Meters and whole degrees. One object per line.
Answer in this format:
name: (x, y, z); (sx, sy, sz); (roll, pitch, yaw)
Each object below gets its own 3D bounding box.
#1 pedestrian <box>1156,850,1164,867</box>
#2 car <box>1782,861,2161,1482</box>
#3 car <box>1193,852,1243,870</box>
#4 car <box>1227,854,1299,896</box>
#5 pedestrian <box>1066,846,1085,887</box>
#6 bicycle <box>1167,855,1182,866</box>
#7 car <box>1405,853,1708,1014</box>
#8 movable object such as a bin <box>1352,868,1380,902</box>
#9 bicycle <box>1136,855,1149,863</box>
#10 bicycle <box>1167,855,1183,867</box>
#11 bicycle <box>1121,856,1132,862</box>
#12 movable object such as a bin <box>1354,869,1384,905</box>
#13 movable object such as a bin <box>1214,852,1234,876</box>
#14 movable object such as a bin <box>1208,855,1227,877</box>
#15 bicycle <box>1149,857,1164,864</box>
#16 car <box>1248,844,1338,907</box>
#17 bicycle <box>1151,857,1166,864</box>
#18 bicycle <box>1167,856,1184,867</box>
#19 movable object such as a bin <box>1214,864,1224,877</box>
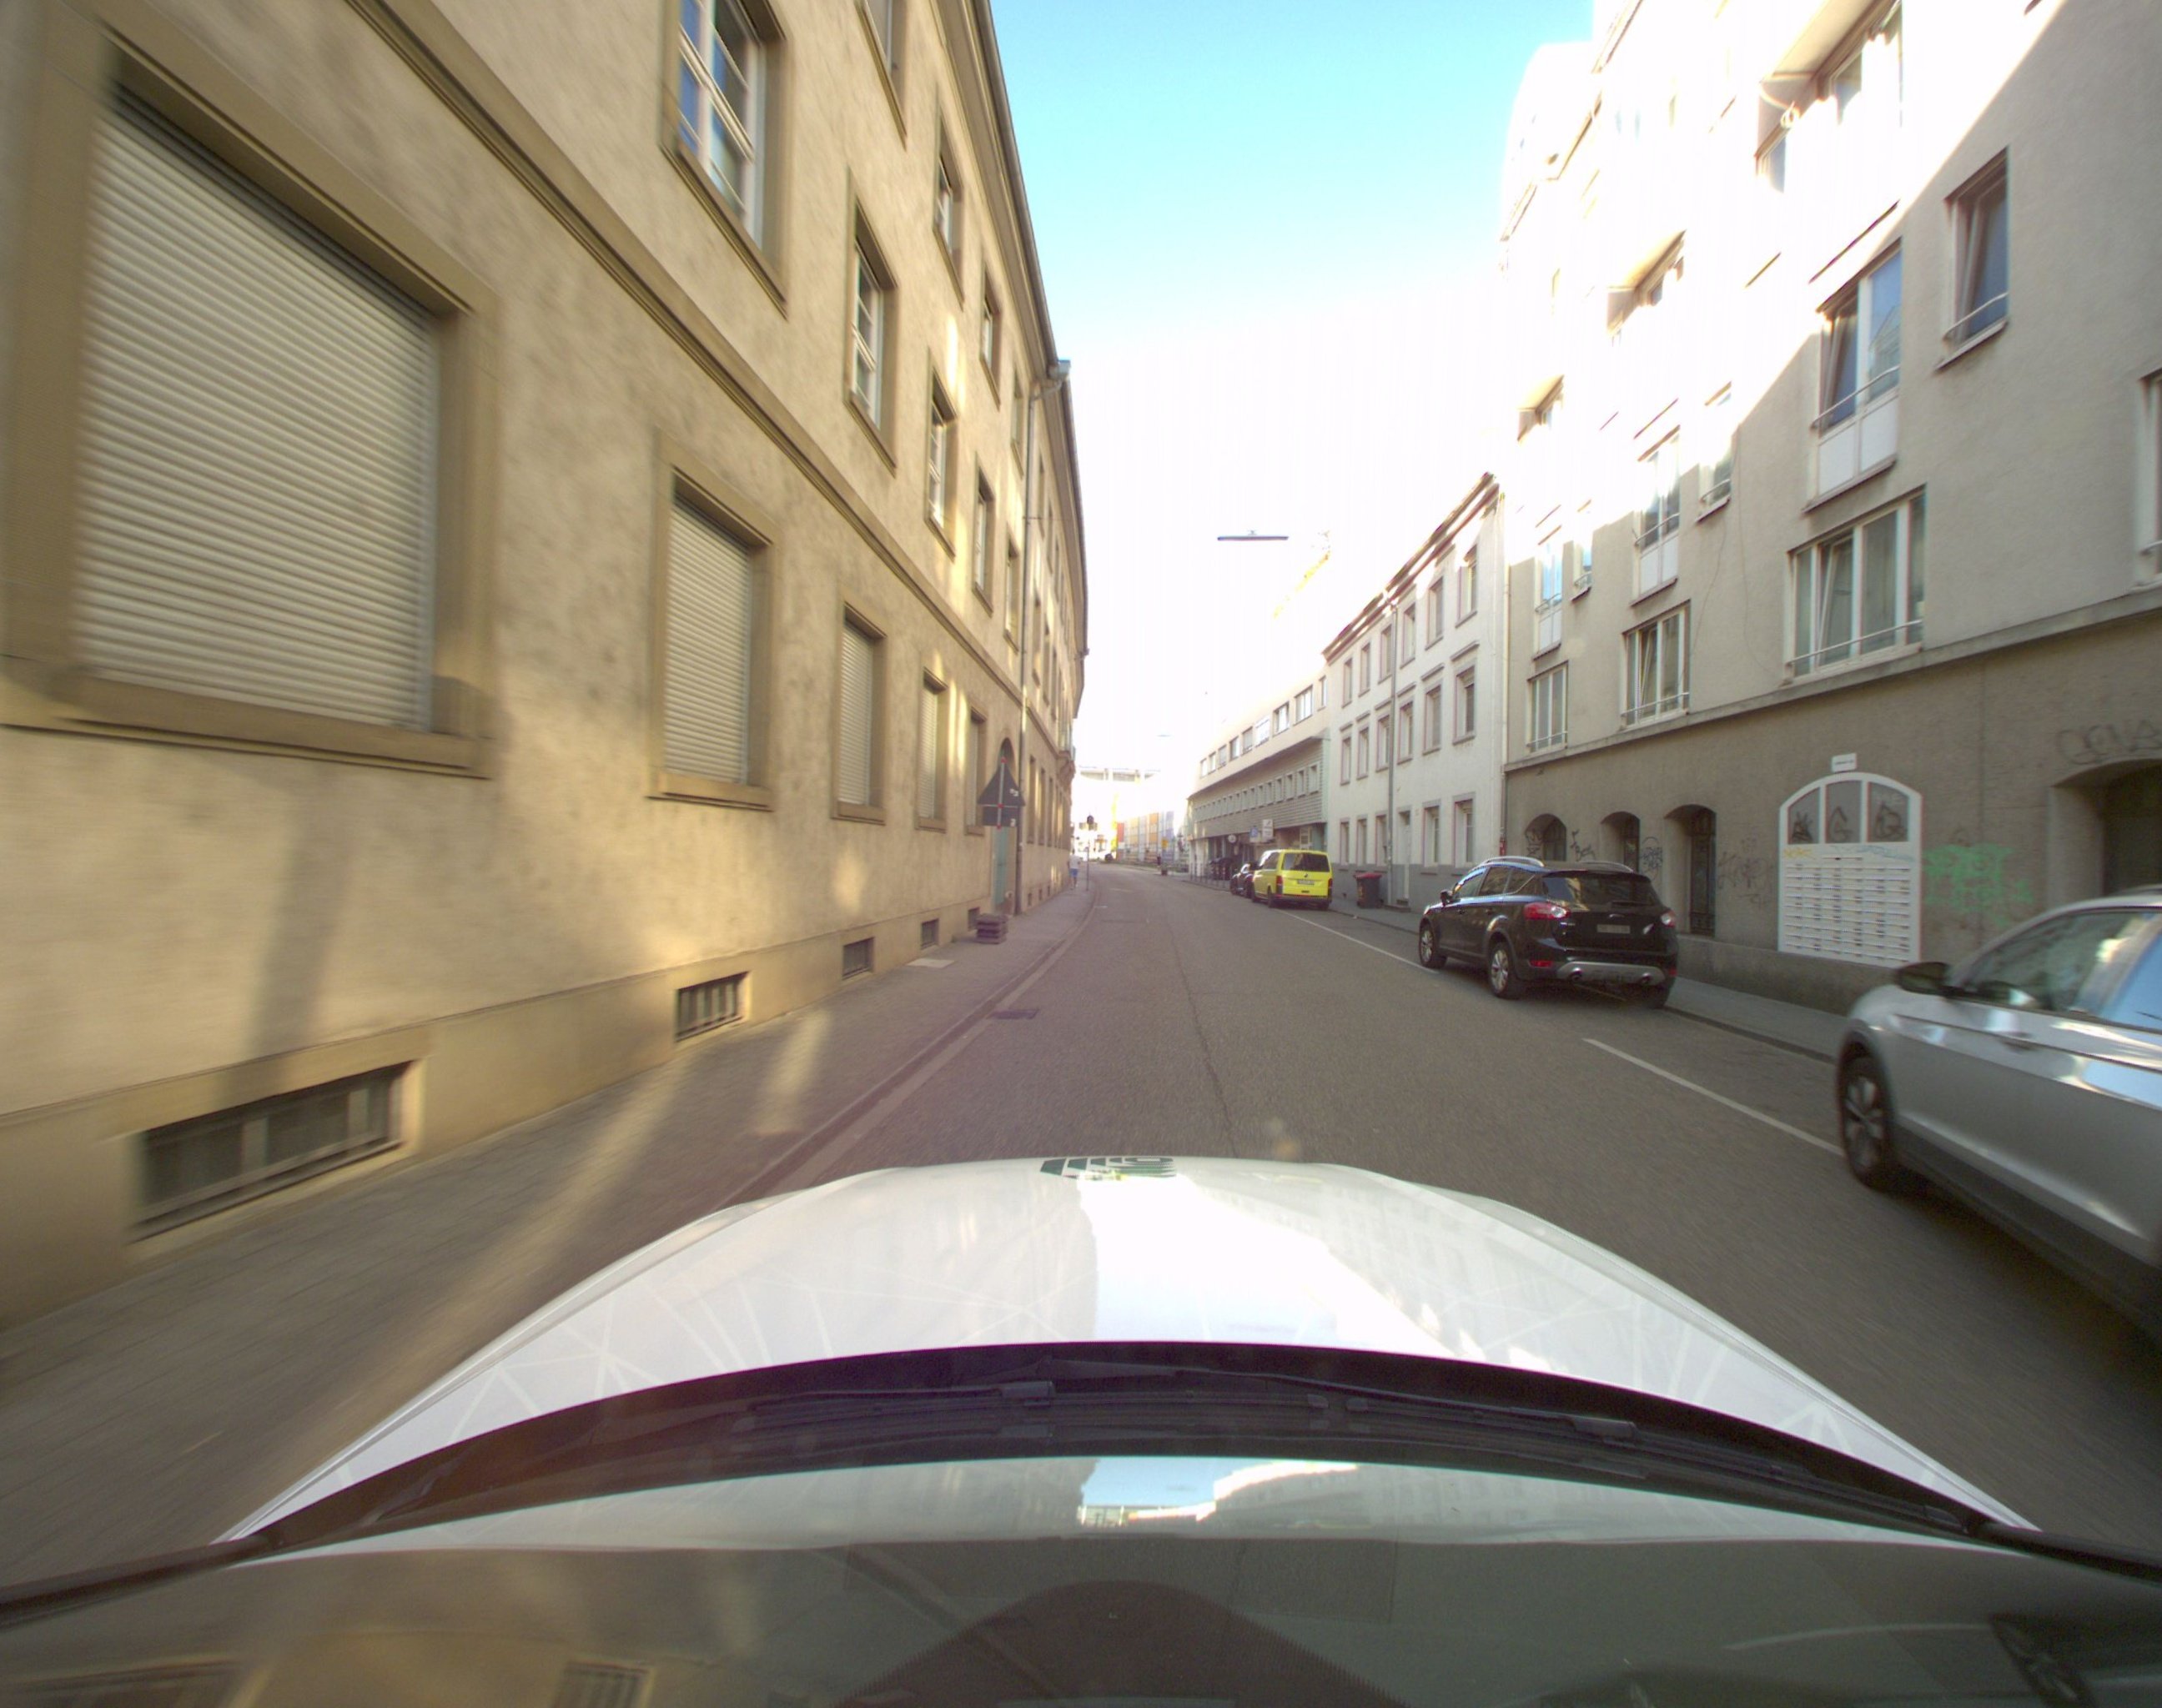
pedestrian: (8.381, 0.465, 86.420); (0.695, 1.760, 1.187); (-1, 0, -3)
car: (4.131, 0.842, 2.741); (1.808, 1.559, 4.010); (2, 0, 28)
car: (12.004, 0.593, 71.545); (4.069, 1.482, 1.863); (1, 0, -3)
car: (7.262, 0.806, 32.885); (1.877, 1.489, 4.367); (2, 0, 0)
pedestrian: (-0.243, 0.522, 34.383); (0.690, 1.670, 0.875); (3, -1, 1)
bicycle: (10.254, 0.765, 89.374); (1.603, 1.141, 0.236); (-2, 0, -12)
car: (5.975, 0.842, 10.972); (1.816, 1.654, 4.501); (2, 0, 6)
movable object such as a bin: (9.196, 0.997, 26.259); (0.604, 1.051, 0.708); (-4, 0, 1)
bicycle: (8.907, 0.702, 118.263); (1.807, 1.137, 0.551); (1, -1, -5)
bicycle: (10.309, 0.764, 89.104); (1.642, 1.141, 0.282); (-2, 0, -12)
bicycle: (7.443, 0.791, 132.388); (1.752, 1.004, 0.611); (0, -1, -9)
movable object such as a bin: (9.002, 1.018, 25.465); (0.625, 1.051, 0.708); (-4, 0, -3)
movable object such as a bin: (9.064, 0.629, 51.811); (0.978, 1.480, 1.550); (0, -2, -1)
movable object such as a bin: (8.934, 0.799, 53.317); (0.978, 1.385, 1.320); (0, -2, -1)
bicycle: (9.397, 0.818, 101.579); (1.744, 0.946, 0.551); (0, -1, -4)
car: (7.044, 0.651, 27.571); (1.876, 1.882, 4.847); (2, 0, 2)
bicycle: (9.756, 0.815, 102.288); (1.744, 0.946, 0.551); (0, -1, -4)
bicycle: (10.140, 0.774, 87.681); (1.744, 1.141, 0.551); (-2, 0, -4)
movable object such as a bin: (9.185, 1.099, 54.344); (0.555, 0.899, 0.523); (0, -2, -1)
